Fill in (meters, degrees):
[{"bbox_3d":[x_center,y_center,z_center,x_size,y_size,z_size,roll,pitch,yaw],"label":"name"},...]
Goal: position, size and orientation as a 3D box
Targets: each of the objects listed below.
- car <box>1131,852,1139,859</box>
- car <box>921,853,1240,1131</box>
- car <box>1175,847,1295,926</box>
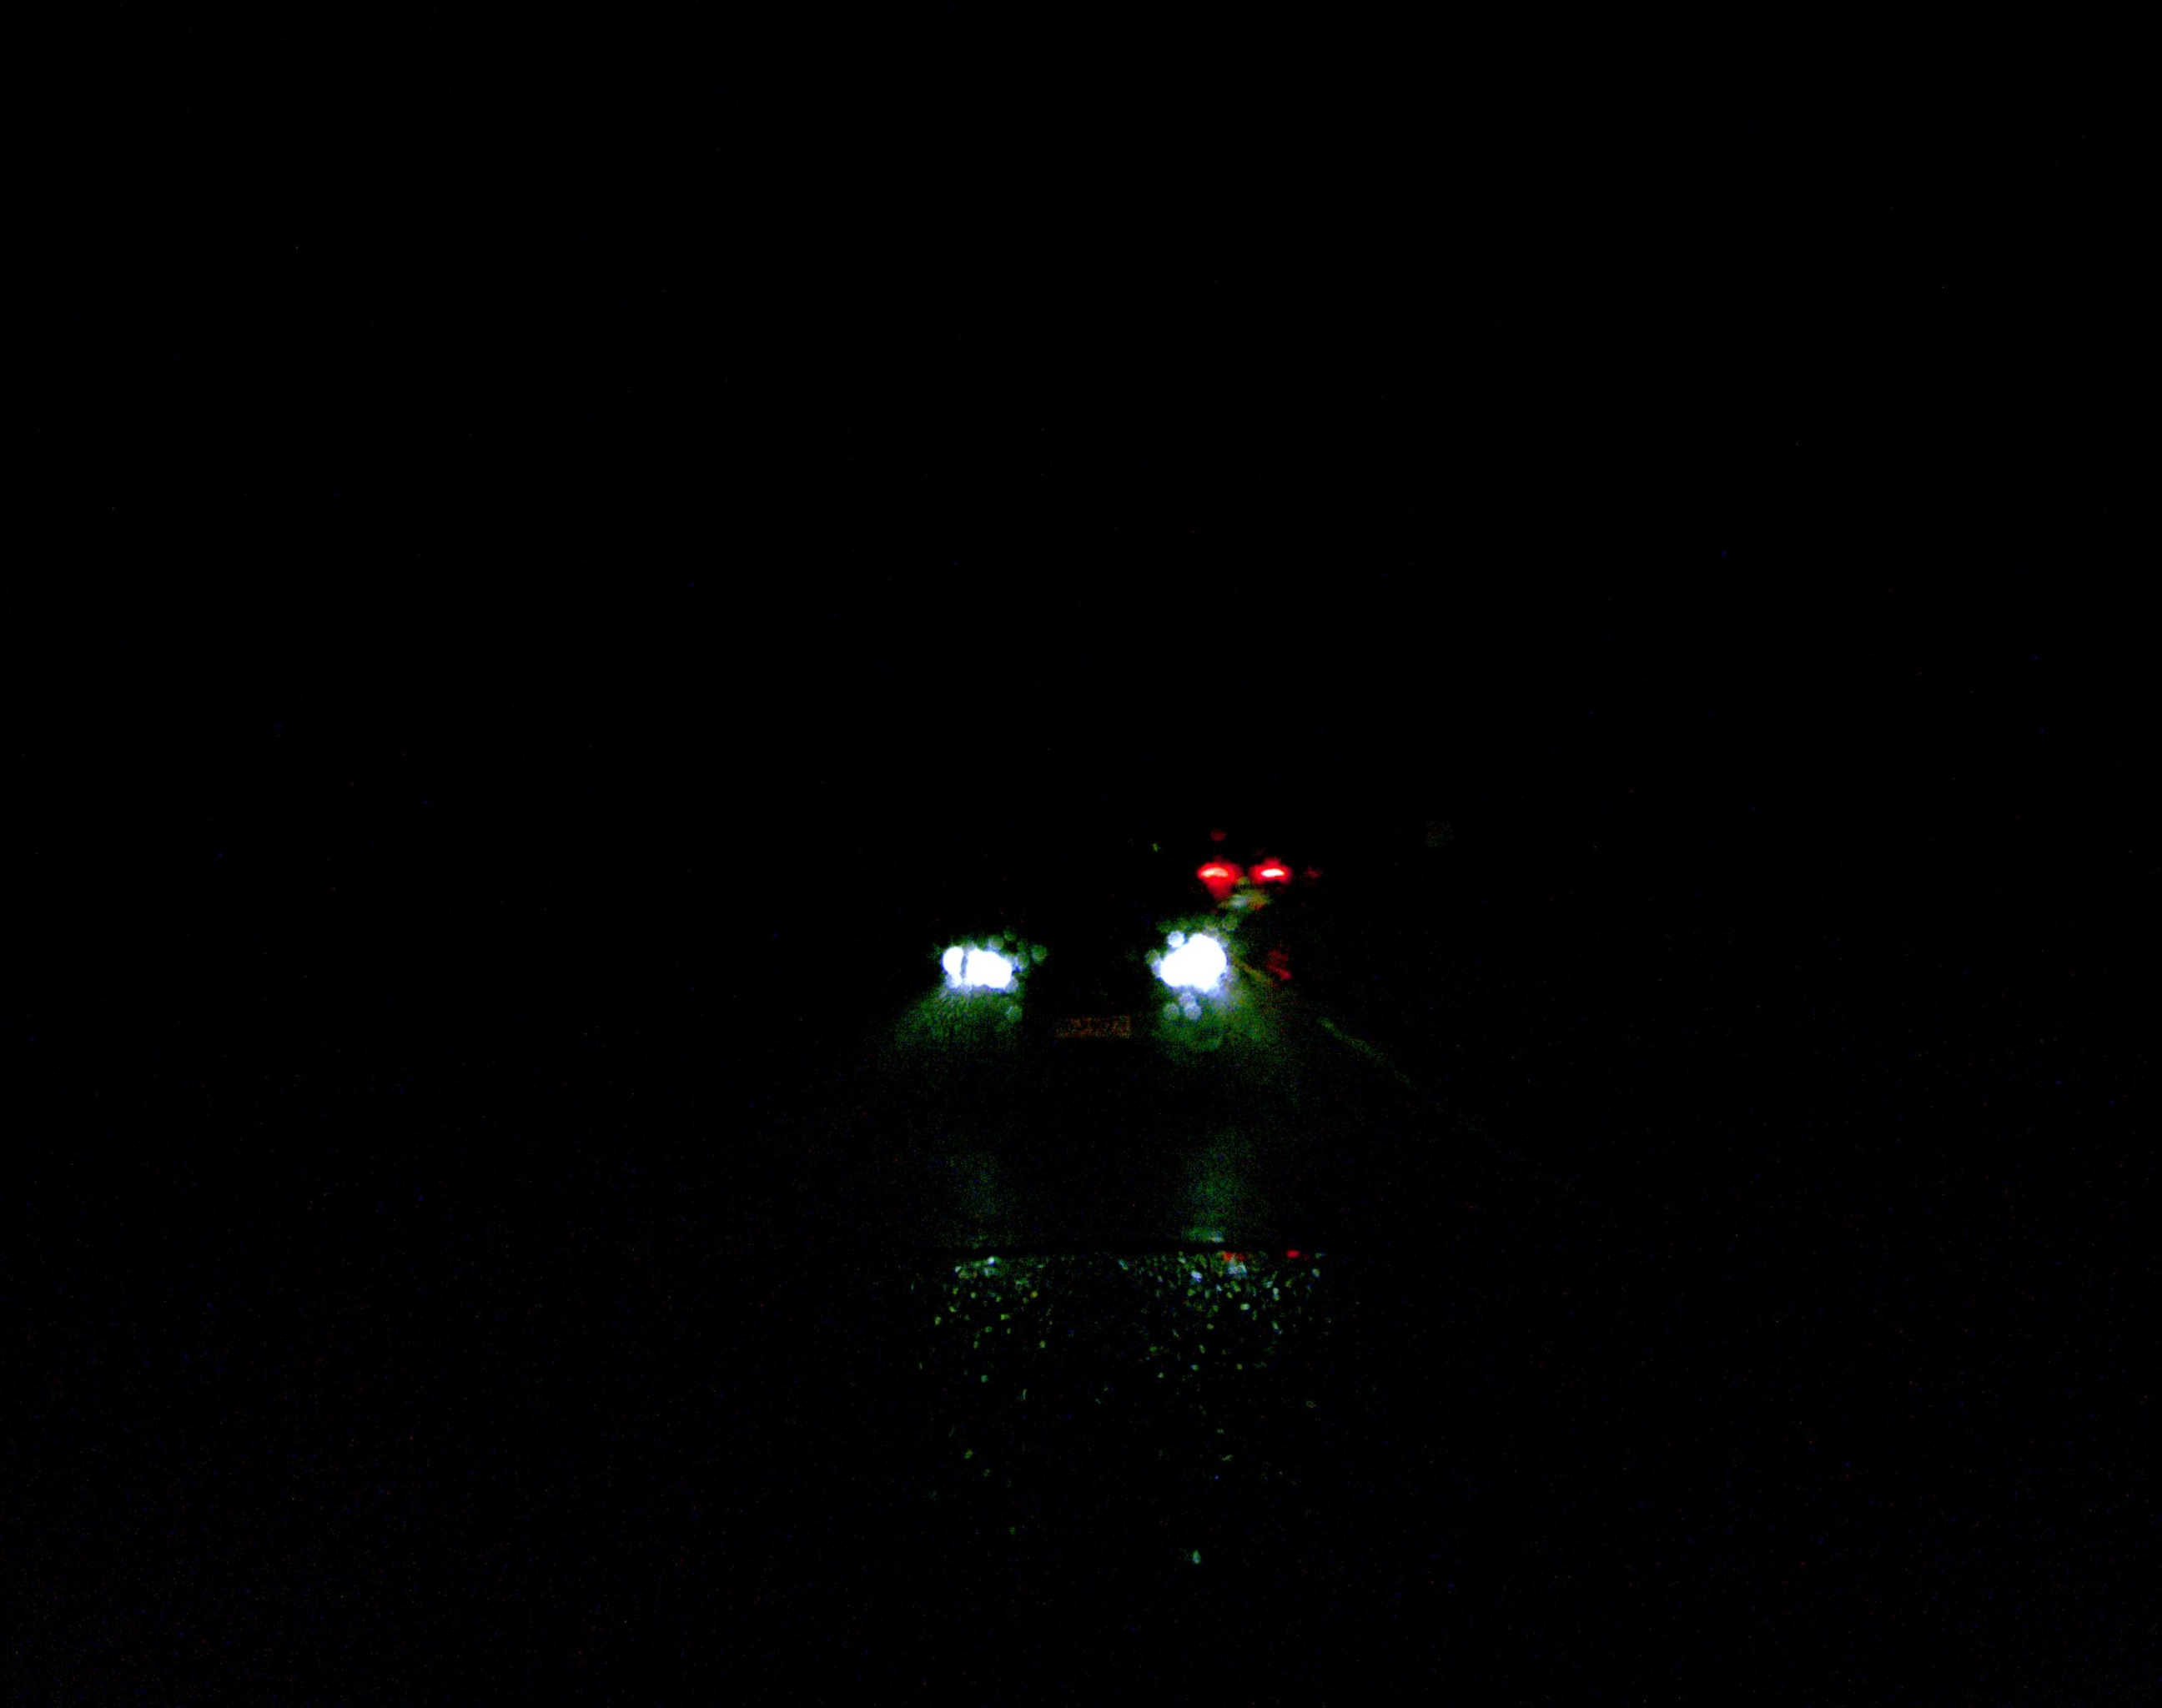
[{"bbox_3d":[12.979,0.269,181.685,1.845,1.565,4.000,-2,1,3],"label":"car"},{"bbox_3d":[0.092,0.832,6.518,1.845,1.565,4.000,-2,1,3],"label":"car"},{"bbox_3d":[3.491,0.683,18.052,1.957,1.646,4.124,-1,0,-1],"label":"car"}]
